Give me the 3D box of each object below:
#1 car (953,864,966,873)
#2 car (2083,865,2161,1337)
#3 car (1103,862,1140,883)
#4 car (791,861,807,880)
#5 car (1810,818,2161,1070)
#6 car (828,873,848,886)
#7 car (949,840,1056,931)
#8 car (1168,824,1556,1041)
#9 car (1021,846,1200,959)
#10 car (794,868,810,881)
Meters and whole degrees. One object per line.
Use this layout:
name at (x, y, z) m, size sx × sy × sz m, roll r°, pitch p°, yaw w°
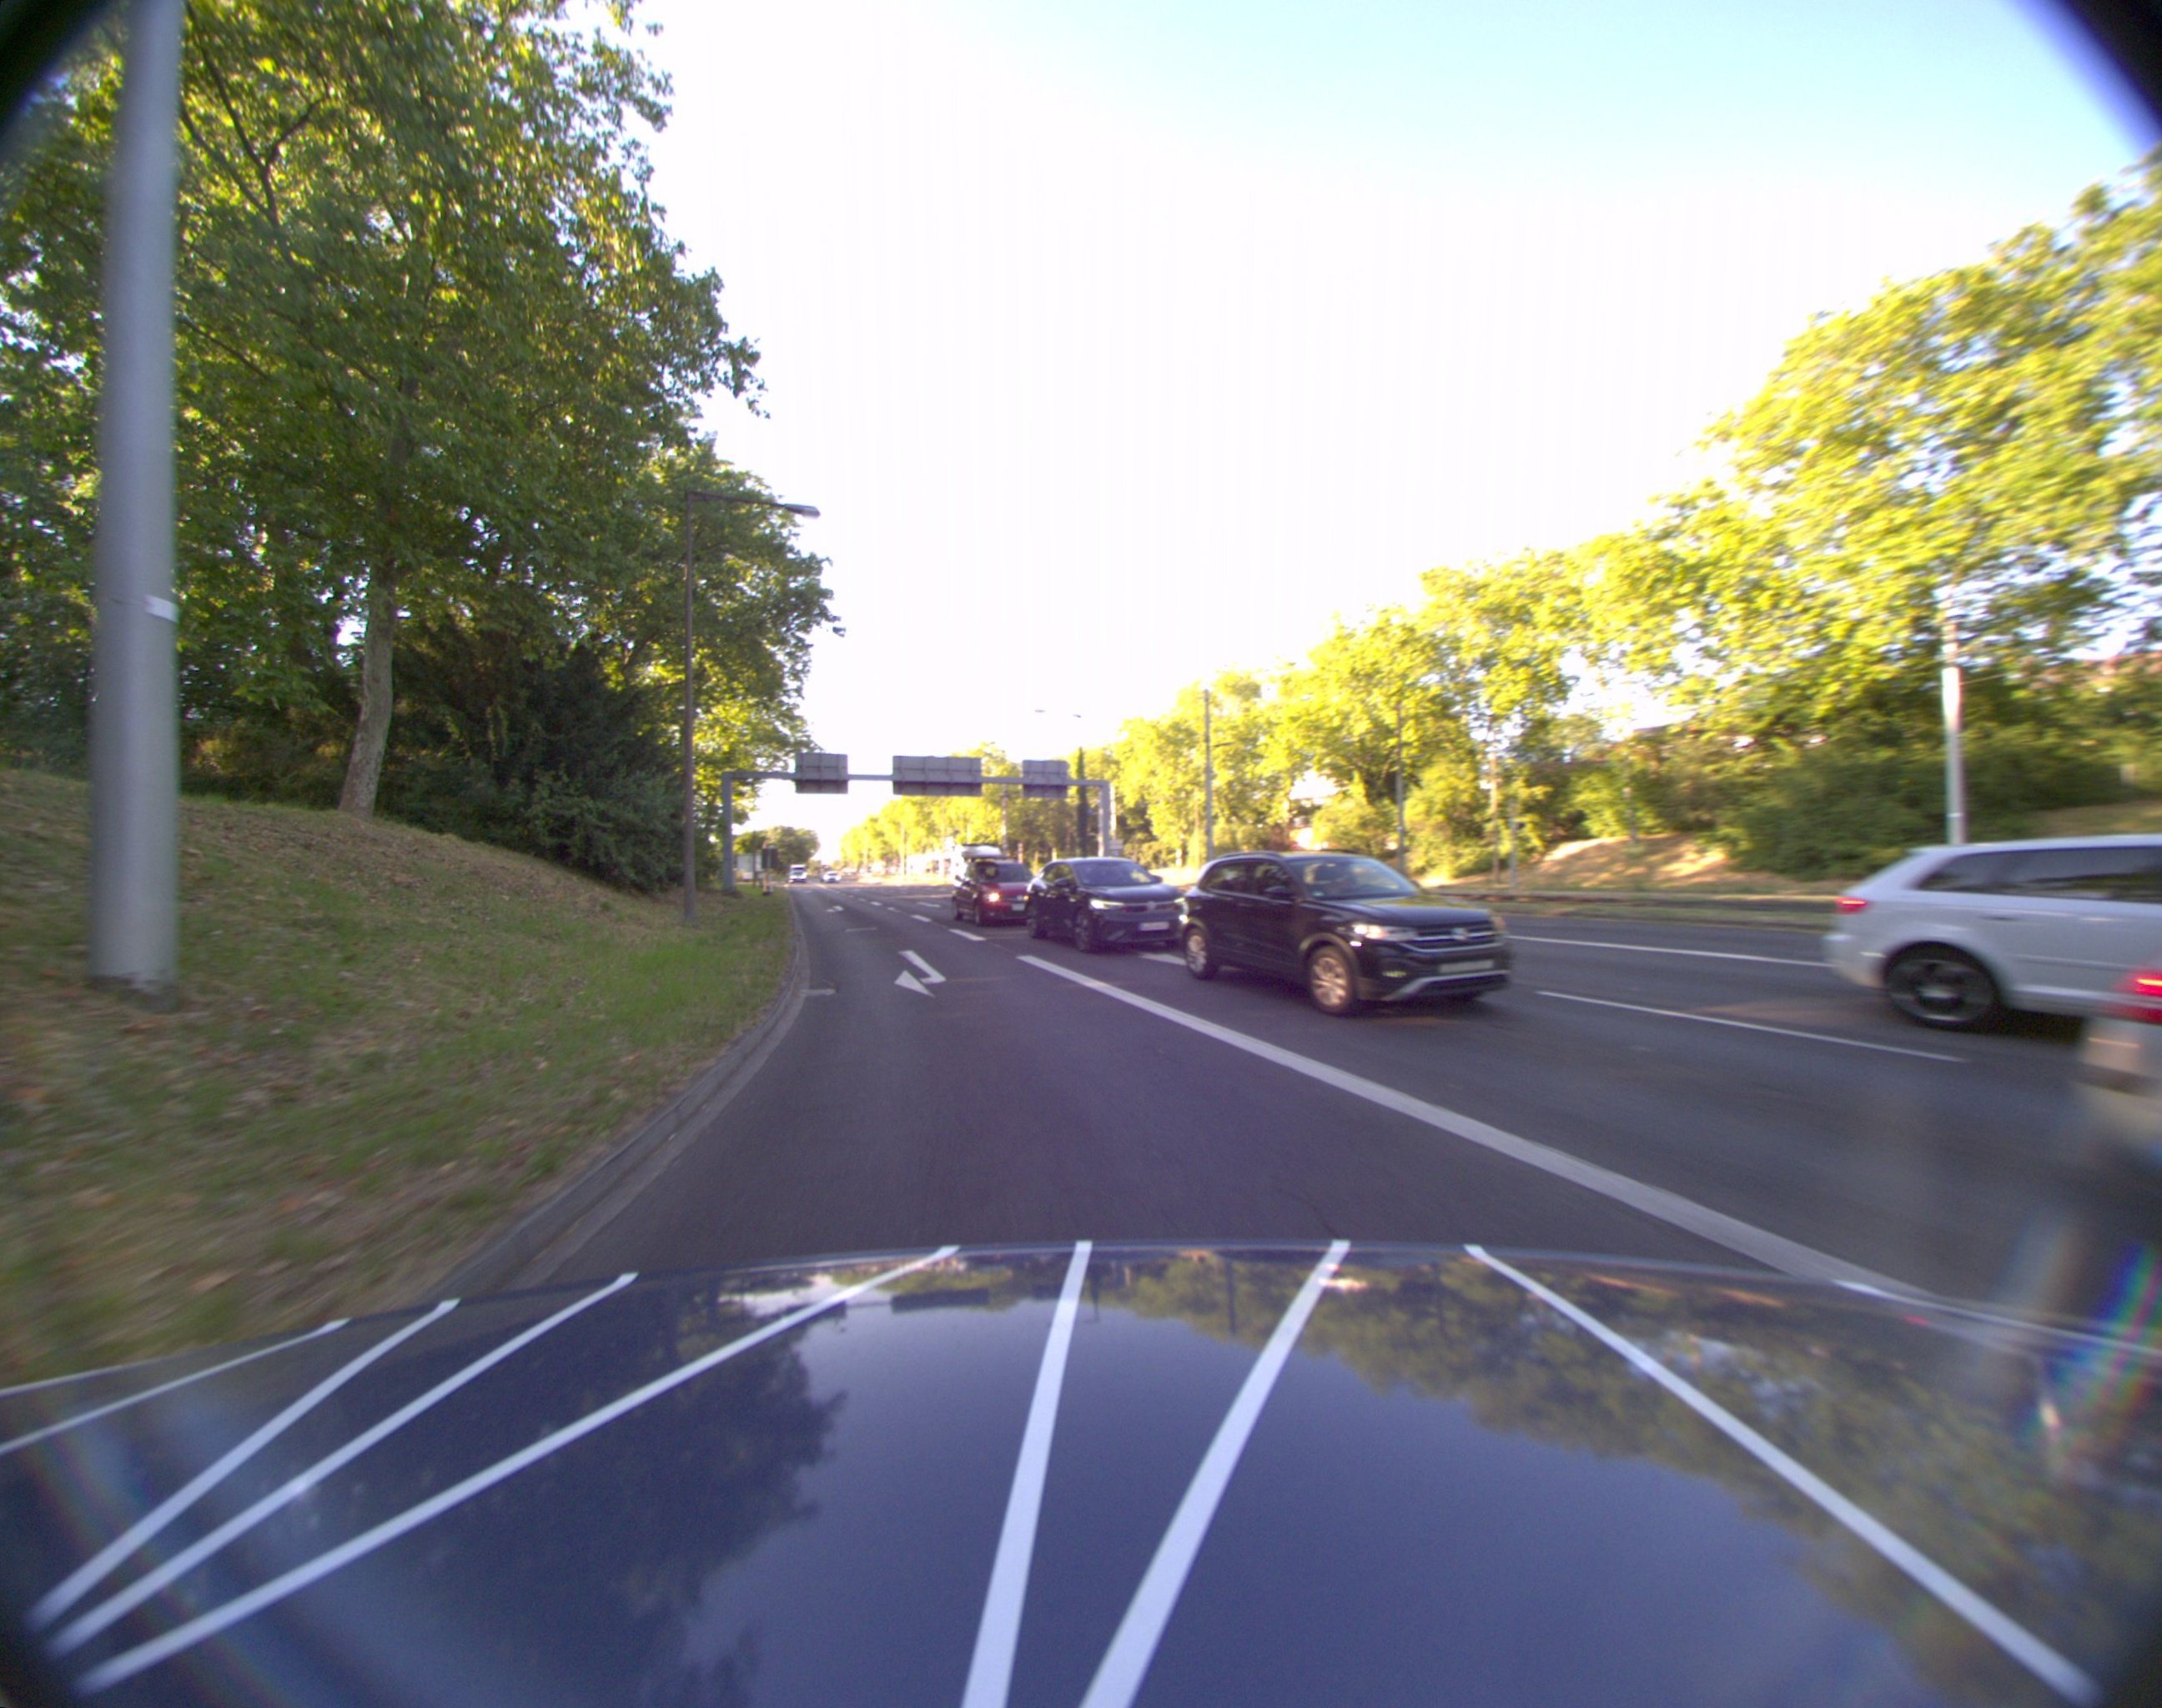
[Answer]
car at (-27.555, 3.272, 172.188) m, size 2.002 × 2.053 × 4.184 m, roll 1°, pitch -1°, yaw -20°
car at (4.870, 0.735, 0.960) m, size 1.800 × 1.472 × 3.994 m, roll 1°, pitch -2°, yaw -20°
car at (3.940, 1.816, 75.222) m, size 1.928 × 2.001 × 4.505 m, roll 1°, pitch -2°, yaw -22°
car at (-40.091, 2.363, 108.078) m, size 2.012 × 2.515 × 5.867 m, roll 1°, pitch -2°, yaw -20°
car at (7.582, 0.556, 4.654) m, size 1.670 × 1.555 × 4.184 m, roll 1°, pitch -2°, yaw -20°
car at (-32.279, 3.389, 100.964) m, size 1.876 × 1.608 × 3.998 m, roll 0°, pitch -1°, yaw -9°
car at (-2.161, 0.794, 19.788) m, size 1.800 × 2.092 × 3.994 m, roll 1°, pitch -2°, yaw -21°
car at (2.671, 0.696, 8.292) m, size 1.800 × 1.739 × 3.994 m, roll 1°, pitch -2°, yaw -20°
car at (0.346, 0.814, 13.968) m, size 1.800 × 1.739 × 4.234 m, roll 1°, pitch -2°, yaw -20°
car at (-36.400, 2.706, 98.956) m, size 1.878 × 1.608 × 4.540 m, roll 1°, pitch -2°, yaw -21°
